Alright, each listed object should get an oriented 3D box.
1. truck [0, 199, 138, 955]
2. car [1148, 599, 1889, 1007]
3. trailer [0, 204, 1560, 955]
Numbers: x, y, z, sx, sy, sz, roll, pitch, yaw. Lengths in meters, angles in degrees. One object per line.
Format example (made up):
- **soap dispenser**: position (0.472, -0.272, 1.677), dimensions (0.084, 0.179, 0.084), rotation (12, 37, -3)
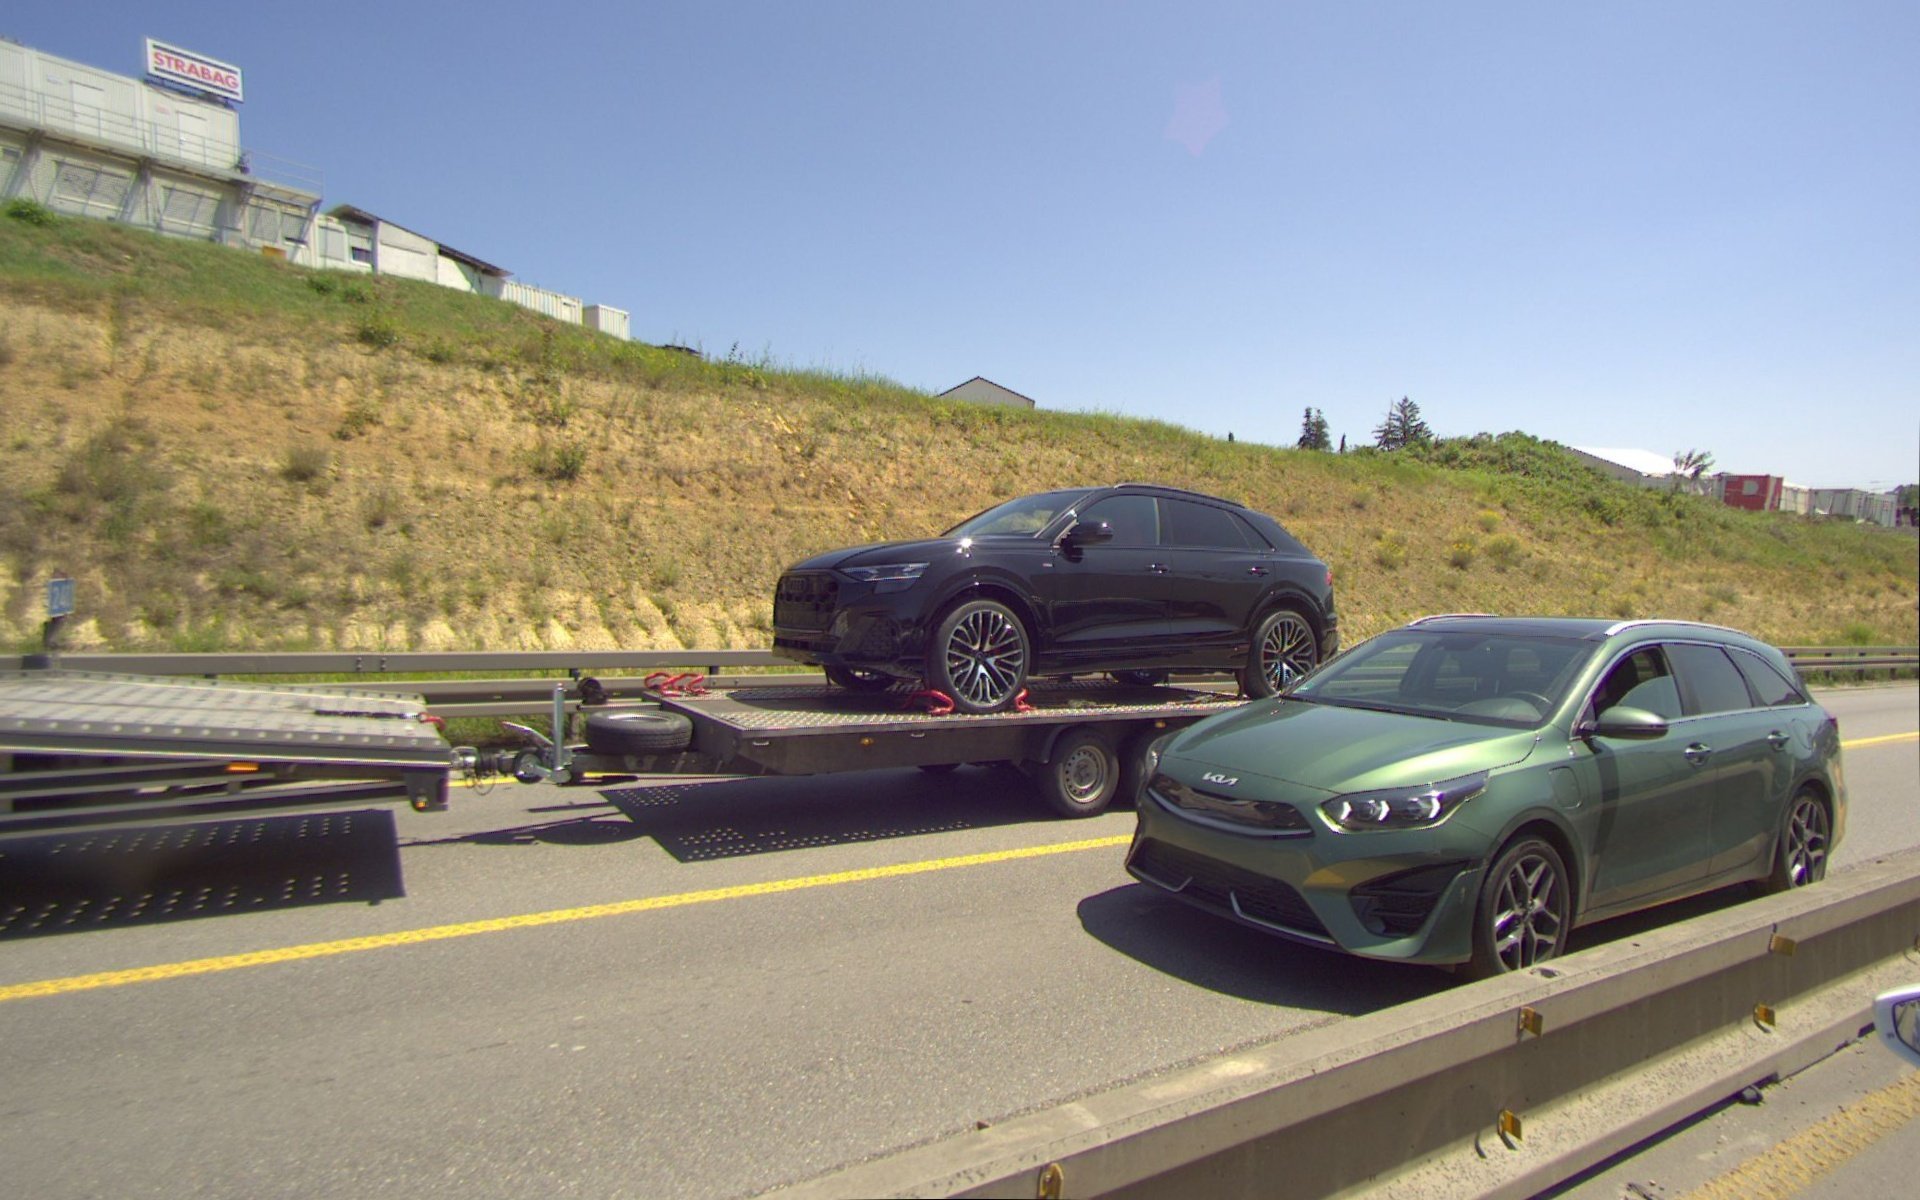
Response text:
- **truck**: position (-6.692, -0.155, 3.352), dimensions (5.785, 2.921, 2.256), rotation (1, 0, -32)
- **car**: position (3.056, 0.762, 5.299), dimensions (3.954, 1.447, 1.658), rotation (1, -1, -31)
- **trailer**: position (-0.181, 0.014, 7.445), dimensions (12.896, 2.921, 2.256), rotation (1, 0, -32)
